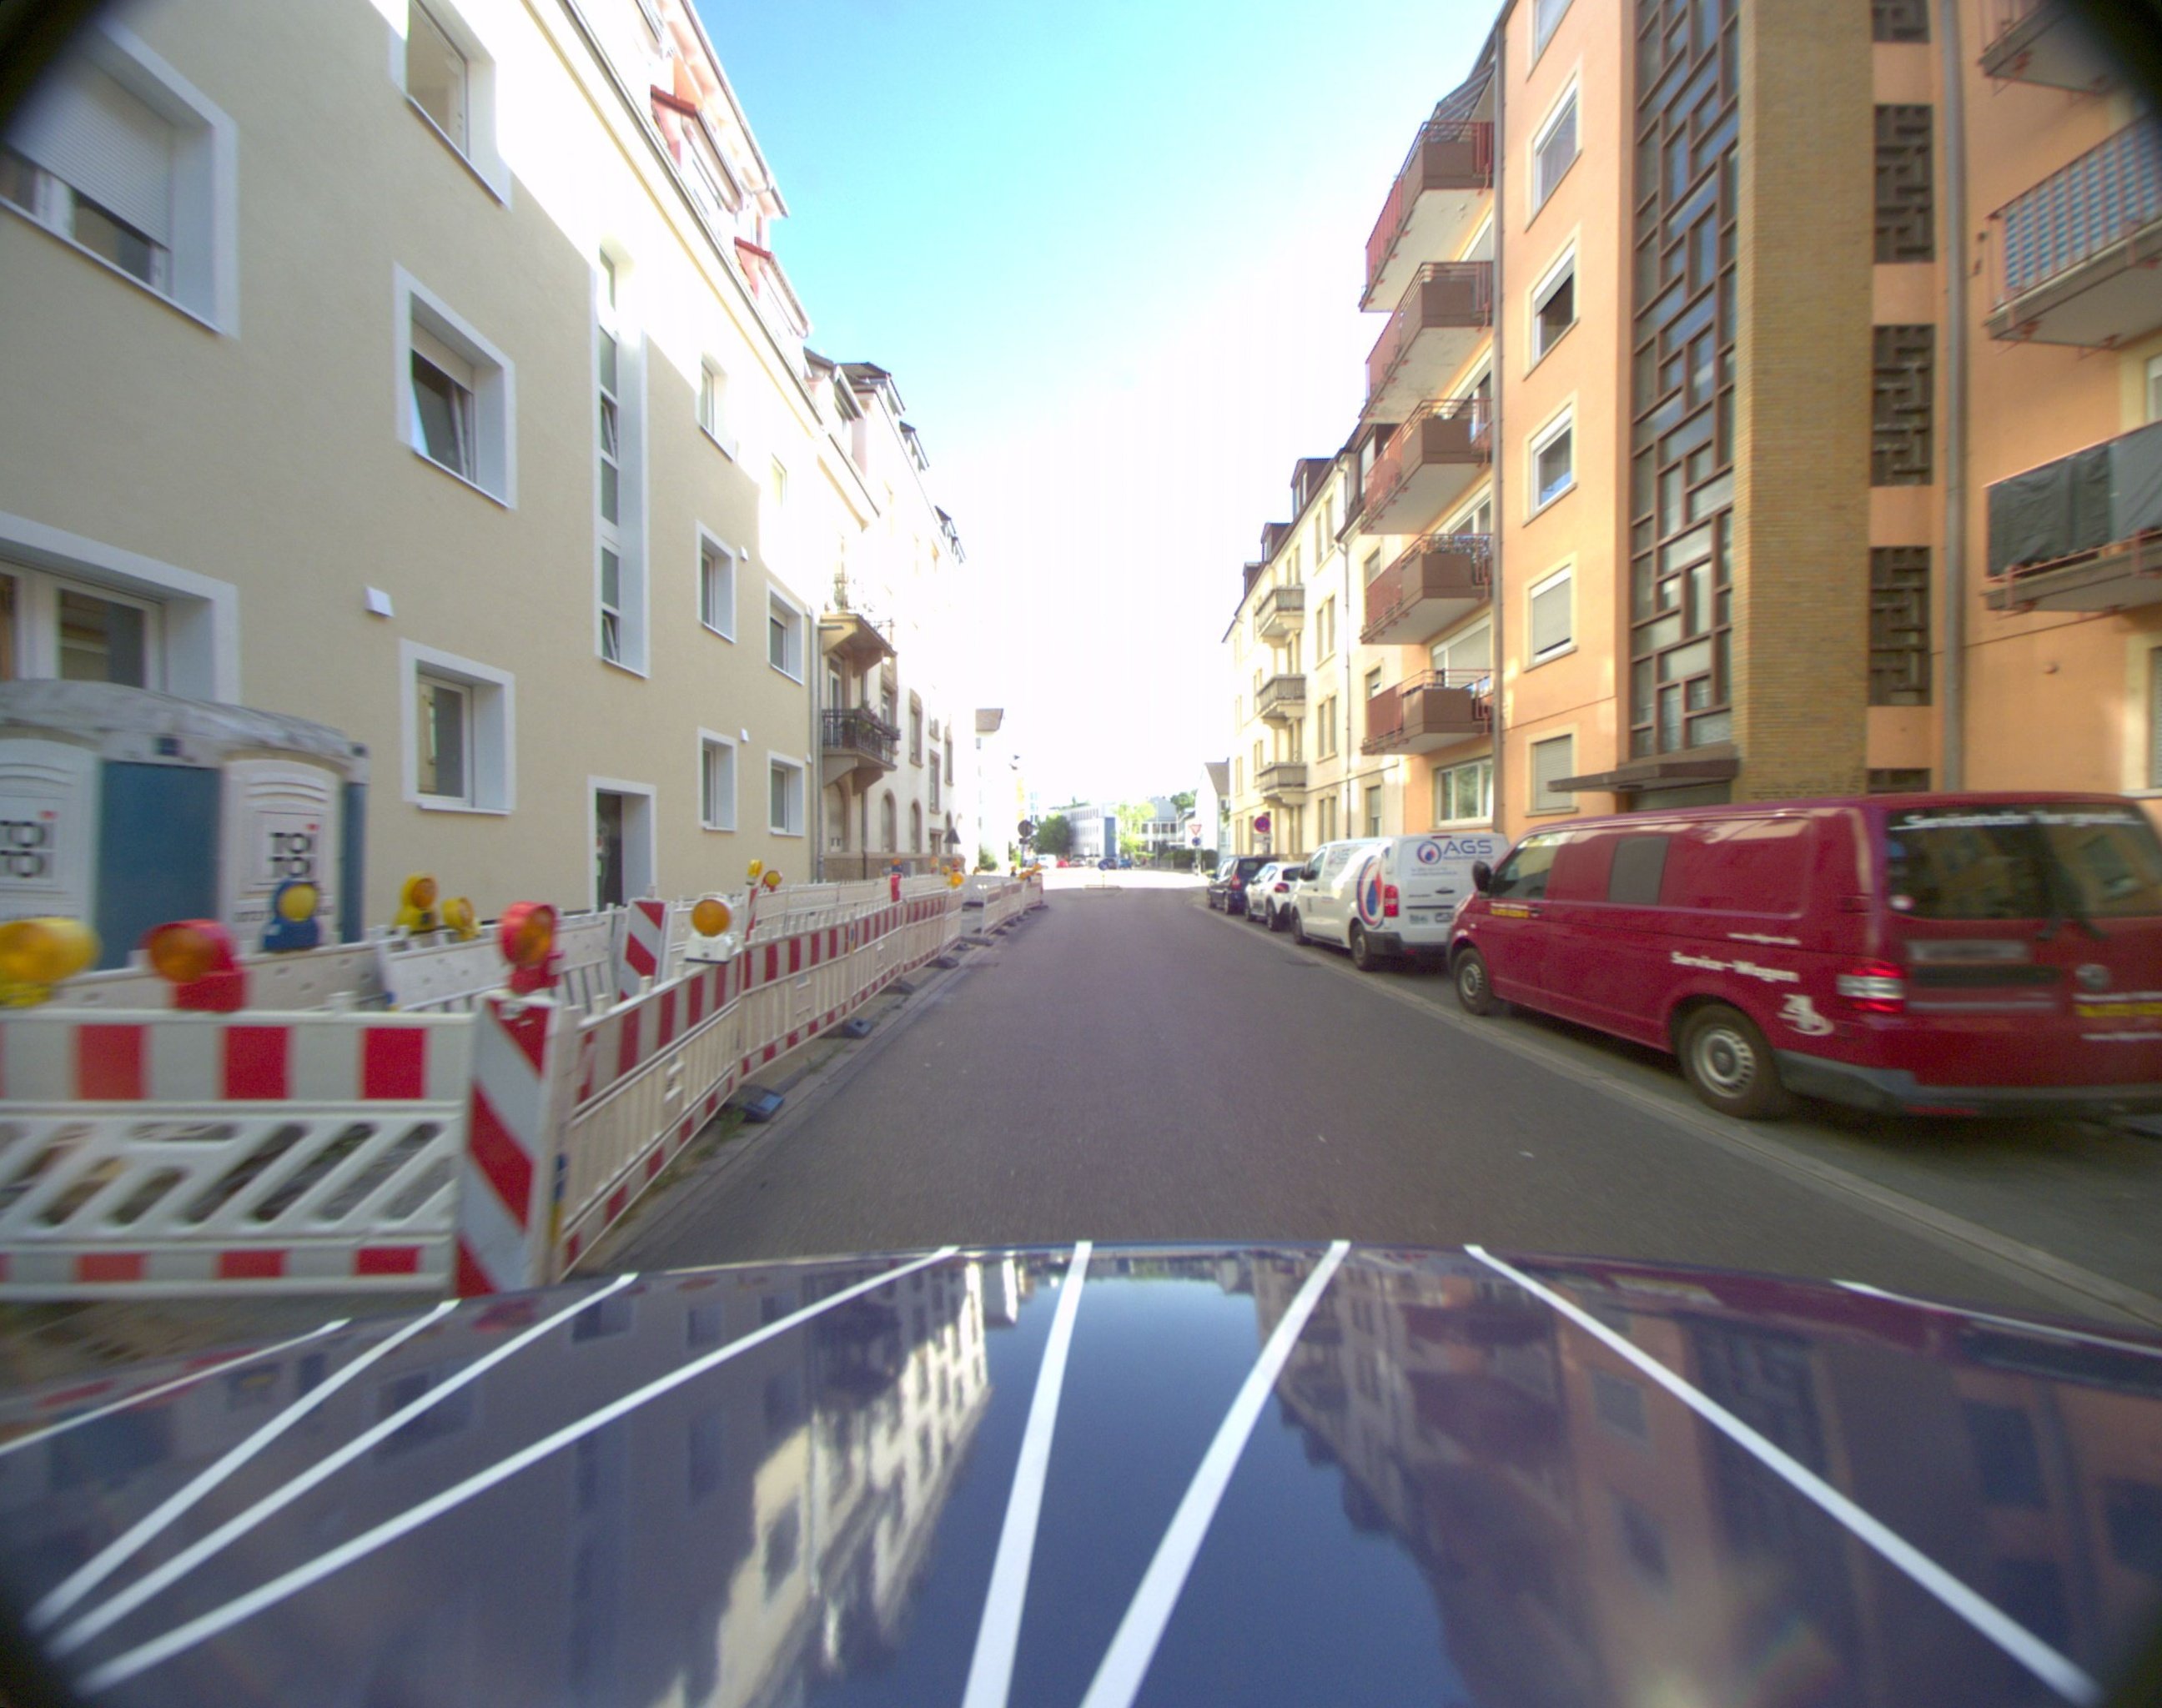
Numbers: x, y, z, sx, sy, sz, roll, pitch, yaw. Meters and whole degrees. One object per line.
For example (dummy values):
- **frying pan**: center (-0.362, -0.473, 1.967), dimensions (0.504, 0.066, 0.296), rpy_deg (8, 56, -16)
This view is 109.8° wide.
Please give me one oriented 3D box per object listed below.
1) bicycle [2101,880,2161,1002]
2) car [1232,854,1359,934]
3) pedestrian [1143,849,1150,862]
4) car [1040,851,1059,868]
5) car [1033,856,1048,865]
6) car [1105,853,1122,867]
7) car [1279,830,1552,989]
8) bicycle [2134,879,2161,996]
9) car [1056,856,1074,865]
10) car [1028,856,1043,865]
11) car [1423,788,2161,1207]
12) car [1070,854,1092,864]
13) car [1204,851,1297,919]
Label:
- **bicycle**: center (10.184, 0.811, 6.541), dimensions (0.342, 1.107, 1.762), rpy_deg (-1, 0, -5)
- **car**: center (4.875, 0.831, 17.899), dimensions (1.767, 1.611, 4.295), rpy_deg (-1, 0, 0)
- **pedestrian**: center (8.776, 0.237, 101.538), dimensions (0.819, 1.696, 0.996), rpy_deg (-1, 1, -5)
- **car**: center (-4.133, 0.688, 99.212), dimensions (1.998, 2.002, 4.798), rpy_deg (3, 0, 2)
- **car**: center (-6.690, 1.069, 125.045), dimensions (1.760, 1.445, 3.995), rpy_deg (3, -1, -14)
- **car**: center (4.095, 0.760, 96.530), dimensions (1.879, 1.685, 4.274), rpy_deg (0, -1, 0)
- **car**: center (4.791, 0.678, 11.966), dimensions (1.980, 1.914, 5.309), rpy_deg (-1, 0, 0)
- **bicycle**: center (10.570, 0.803, 6.586), dimensions (0.342, 1.107, 1.762), rpy_deg (-1, 0, -5)
- **car**: center (-2.703, 1.105, 128.681), dimensions (1.719, 1.374, 3.993), rpy_deg (1, -1, -21)
- **car**: center (-7.773, 1.076, 129.416), dimensions (1.760, 1.445, 3.994), rpy_deg (3, -1, -15)
- **car**: center (4.676, 0.661, 5.971), dimensions (1.767, 1.914, 4.935), rpy_deg (-1, 0, 0)
- **car**: center (-0.079, 0.890, 132.627), dimensions (2.141, 1.604, 4.826), rpy_deg (-2, 1, -22)
- **car**: center (4.802, 0.806, 22.127), dimensions (1.767, 1.760, 4.294), rpy_deg (-1, 0, 0)
